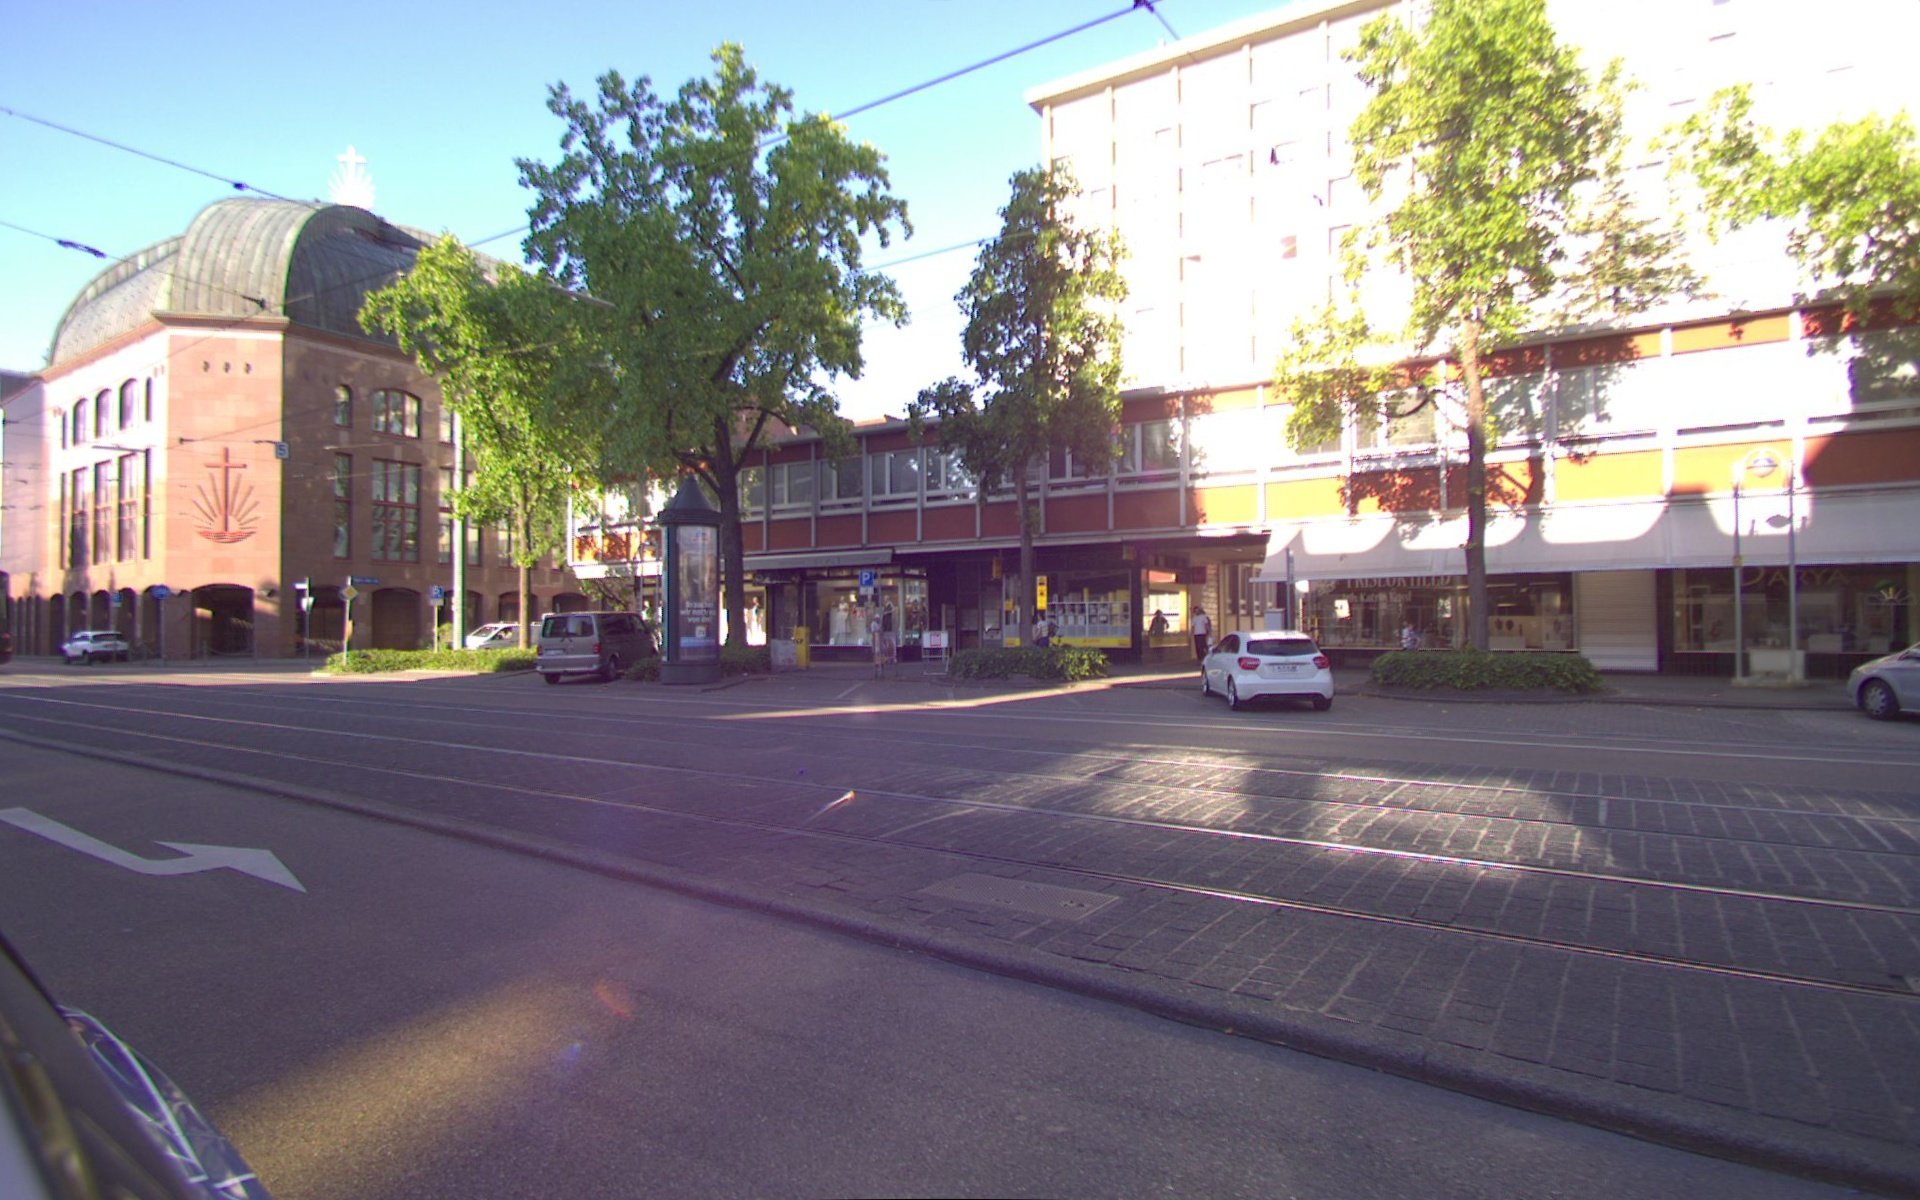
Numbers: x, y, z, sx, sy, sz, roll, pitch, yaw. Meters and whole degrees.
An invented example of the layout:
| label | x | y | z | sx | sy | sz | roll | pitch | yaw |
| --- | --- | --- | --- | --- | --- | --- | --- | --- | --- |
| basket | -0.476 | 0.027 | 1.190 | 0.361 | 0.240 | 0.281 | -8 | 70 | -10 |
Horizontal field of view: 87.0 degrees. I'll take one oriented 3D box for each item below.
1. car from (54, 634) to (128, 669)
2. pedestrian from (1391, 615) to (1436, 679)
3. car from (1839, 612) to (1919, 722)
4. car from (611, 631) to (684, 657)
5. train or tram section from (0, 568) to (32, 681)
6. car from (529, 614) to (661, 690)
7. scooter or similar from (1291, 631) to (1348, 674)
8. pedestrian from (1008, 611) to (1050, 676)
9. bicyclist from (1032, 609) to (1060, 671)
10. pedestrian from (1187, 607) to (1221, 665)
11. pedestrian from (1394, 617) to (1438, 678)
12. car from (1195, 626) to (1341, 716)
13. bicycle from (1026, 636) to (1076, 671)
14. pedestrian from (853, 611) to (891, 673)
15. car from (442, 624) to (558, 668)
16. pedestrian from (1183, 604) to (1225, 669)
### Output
| label | x | y | z | sx | sy | sz | roll | pitch | yaw |
| --- | --- | --- | --- | --- | --- | --- | --- | --- | --- |
| car | -42.494 | 2.496 | 49.459 | 4.264 | 1.602 | 1.583 | -1 | 0 | 32 |
| pedestrian | 10.965 | 1.124 | 24.457 | 0.897 | 1.509 | 0.682 | -2 | -2 | 32 |
| car | 14.740 | 0.965 | 13.839 | 1.803 | 1.578 | 4.276 | 0 | -1 | 3 |
| car | -19.697 | 2.747 | 63.722 | 4.513 | 1.585 | 1.837 | -1 | -2 | 30 |
| train or tram section | -35.943 | 0.860 | 35.040 | 12.807 | 3.578 | 2.653 | -1 | -3 | 34 |
| car | -10.414 | 1.414 | 29.312 | 1.829 | 1.943 | 5.118 | 0 | 0 | 2 |
| scooter or similar | 9.531 | 1.393 | 26.870 | 1.333 | 1.102 | 0.470 | -2 | -1 | 32 |
| pedestrian | 2.051 | 1.274 | 30.078 | 0.897 | 1.892 | 0.909 | -2 | -2 | 32 |
| bicyclist | 2.604 | 1.207 | 30.594 | 0.818 | 1.836 | 0.491 | -1 | -2 | 8 |
| pedestrian | 8.121 | 1.199 | 33.656 | 0.915 | 1.892 | 0.892 | -1 | -2 | 28 |
| pedestrian | 11.294 | 1.164 | 25.083 | 0.897 | 1.481 | 0.682 | -2 | -2 | 32 |
| car | 5.853 | 1.294 | 19.745 | 1.743 | 1.440 | 4.265 | -1 | 0 | 3 |
| bicycle | 2.758 | 1.611 | 30.560 | 1.479 | 1.033 | 0.491 | -1 | -2 | 8 |
| pedestrian | -2.734 | 1.311 | 31.508 | 0.892 | 1.892 | 0.914 | -1 | -2 | 16 |
| car | -23.150 | 2.274 | 51.100 | 2.126 | 1.982 | 4.941 | 2 | 0 | 32 |
| pedestrian | 7.477 | 1.110 | 30.958 | 0.993 | 1.963 | 0.890 | -2 | -2 | 32 |
